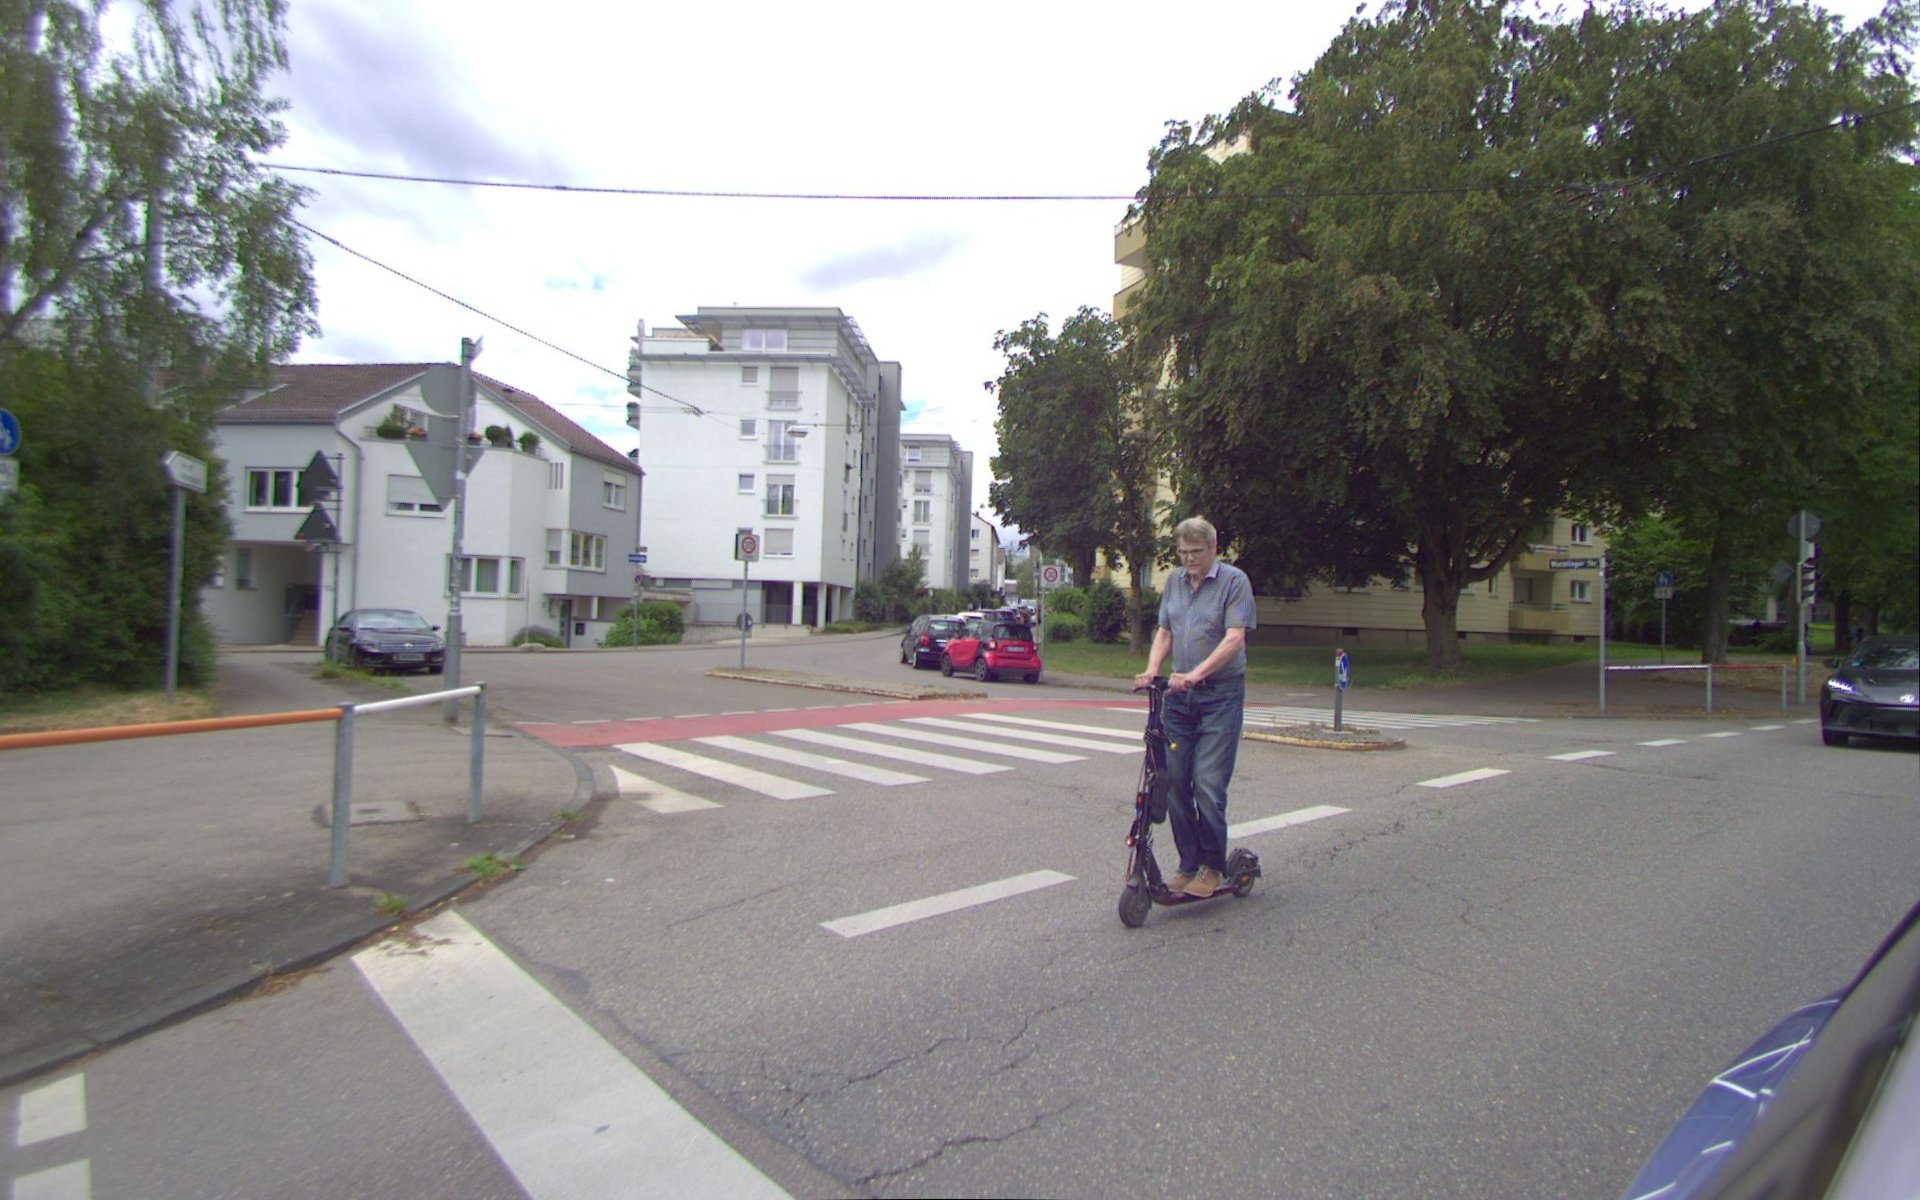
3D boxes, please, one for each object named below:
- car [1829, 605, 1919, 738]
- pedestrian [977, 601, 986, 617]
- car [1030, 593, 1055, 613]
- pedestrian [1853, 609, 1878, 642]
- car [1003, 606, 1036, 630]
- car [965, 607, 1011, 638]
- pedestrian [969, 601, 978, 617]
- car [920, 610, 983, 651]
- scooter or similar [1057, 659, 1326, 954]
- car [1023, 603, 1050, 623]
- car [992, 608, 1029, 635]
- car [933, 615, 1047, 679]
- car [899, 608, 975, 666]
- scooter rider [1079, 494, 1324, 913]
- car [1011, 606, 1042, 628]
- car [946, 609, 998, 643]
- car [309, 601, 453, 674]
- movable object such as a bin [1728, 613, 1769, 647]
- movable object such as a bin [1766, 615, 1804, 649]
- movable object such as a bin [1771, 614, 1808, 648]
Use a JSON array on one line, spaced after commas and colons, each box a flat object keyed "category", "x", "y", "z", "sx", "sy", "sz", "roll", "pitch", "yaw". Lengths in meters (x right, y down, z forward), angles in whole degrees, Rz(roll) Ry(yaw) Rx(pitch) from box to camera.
[{"category": "car", "x": 13.072, "y": 0.984, "z": 13.450, "sx": 4.223, "sy": 1.570, "sz": 1.802, "roll": 5, "pitch": -3, "yaw": -42}, {"category": "pedestrian", "x": 2.035, "y": 0.851, "z": 95.006, "sx": 0.694, "sy": 1.510, "sz": 0.712, "roll": -1, "pitch": -2, "yaw": -6}, {"category": "car", "x": 6.992, "y": 0.232, "z": 85.489, "sx": 1.766, "sy": 1.600, "sz": 4.060, "roll": 2, "pitch": 0, "yaw": 10}, {"category": "pedestrian", "x": 38.987, "y": 1.108, "z": 43.588, "sx": 0.594, "sy": 1.399, "sz": 0.689, "roll": 1, "pitch": 0, "yaw": -35}, {"category": "car", "x": 3.926, "y": 1.170, "z": 66.286, "sx": 1.766, "sy": 1.430, "sz": 4.060, "roll": 2, "pitch": 0, "yaw": 10}, {"category": "car", "x": 1.450, "y": 1.112, "z": 51.101, "sx": 1.766, "sy": 1.430, "sz": 4.060, "roll": 2, "pitch": 0, "yaw": 10}, {"category": "pedestrian", "x": 1.244, "y": 0.858, "z": 94.824, "sx": 0.694, "sy": 1.510, "sz": 0.712, "roll": -1, "pitch": -2, "yaw": -7}, {"category": "car", "x": -0.272, "y": 1.161, "z": 39.897, "sx": 1.766, "sy": 1.452, "sz": 4.060, "roll": 2, "pitch": 0, "yaw": 10}, {"category": "scooter or similar", "x": 1.165, "y": 0.883, "z": 4.891, "sx": 0.680, "sy": 1.154, "sz": 1.438, "roll": 0, "pitch": -2, "yaw": 40}, {"category": "car", "x": 6.055, "y": 0.990, "z": 79.653, "sx": 1.766, "sy": 1.430, "sz": 4.060, "roll": 2, "pitch": 0, "yaw": 10}, {"category": "car", "x": 3.056, "y": 1.264, "z": 60.801, "sx": 1.766, "sy": 1.430, "sz": 4.060, "roll": 2, "pitch": 0, "yaw": 10}, {"category": "car", "x": 0.726, "y": 1.187, "z": 26.087, "sx": 1.661, "sy": 1.526, "sz": 2.923, "roll": 3, "pitch": -2, "yaw": -29}, {"category": "car", "x": -0.758, "y": 1.095, "z": 30.612, "sx": 1.781, "sy": 1.611, "sz": 3.831, "roll": 1, "pitch": -1, "yaw": -9}, {"category": "scooter rider", "x": 1.205, "y": 0.448, "z": 4.915, "sx": 0.680, "sy": 1.752, "sz": 1.179, "roll": 0, "pitch": -2, "yaw": 40}, {"category": "car", "x": 4.755, "y": 1.193, "z": 71.567, "sx": 1.766, "sy": 1.430, "sz": 4.060, "roll": 2, "pitch": 0, "yaw": 10}, {"category": "car", "x": 0.596, "y": 1.136, "z": 46.039, "sx": 1.766, "sy": 1.372, "sz": 4.060, "roll": 2, "pitch": 0, "yaw": 10}, {"category": "car", "x": -13.147, "y": 0.781, "z": 22.837, "sx": 2.002, "sy": 1.457, "sz": 4.794, "roll": 2, "pitch": -1, "yaw": -40}, {"category": "movable object such as a bin", "x": 41.354, "y": 1.559, "z": 53.075, "sx": 1.002, "sy": 1.662, "sz": 1.435, "roll": 0, "pitch": 2, "yaw": -38}, {"category": "movable object such as a bin", "x": 42.246, "y": 1.616, "z": 51.850, "sx": 1.002, "sy": 1.662, "sz": 1.278, "roll": 0, "pitch": 2, "yaw": -38}, {"category": "movable object such as a bin", "x": 43.095, "y": 1.604, "z": 52.563, "sx": 1.056, "sy": 1.662, "sz": 1.240, "roll": 0, "pitch": 2, "yaw": -38}]
